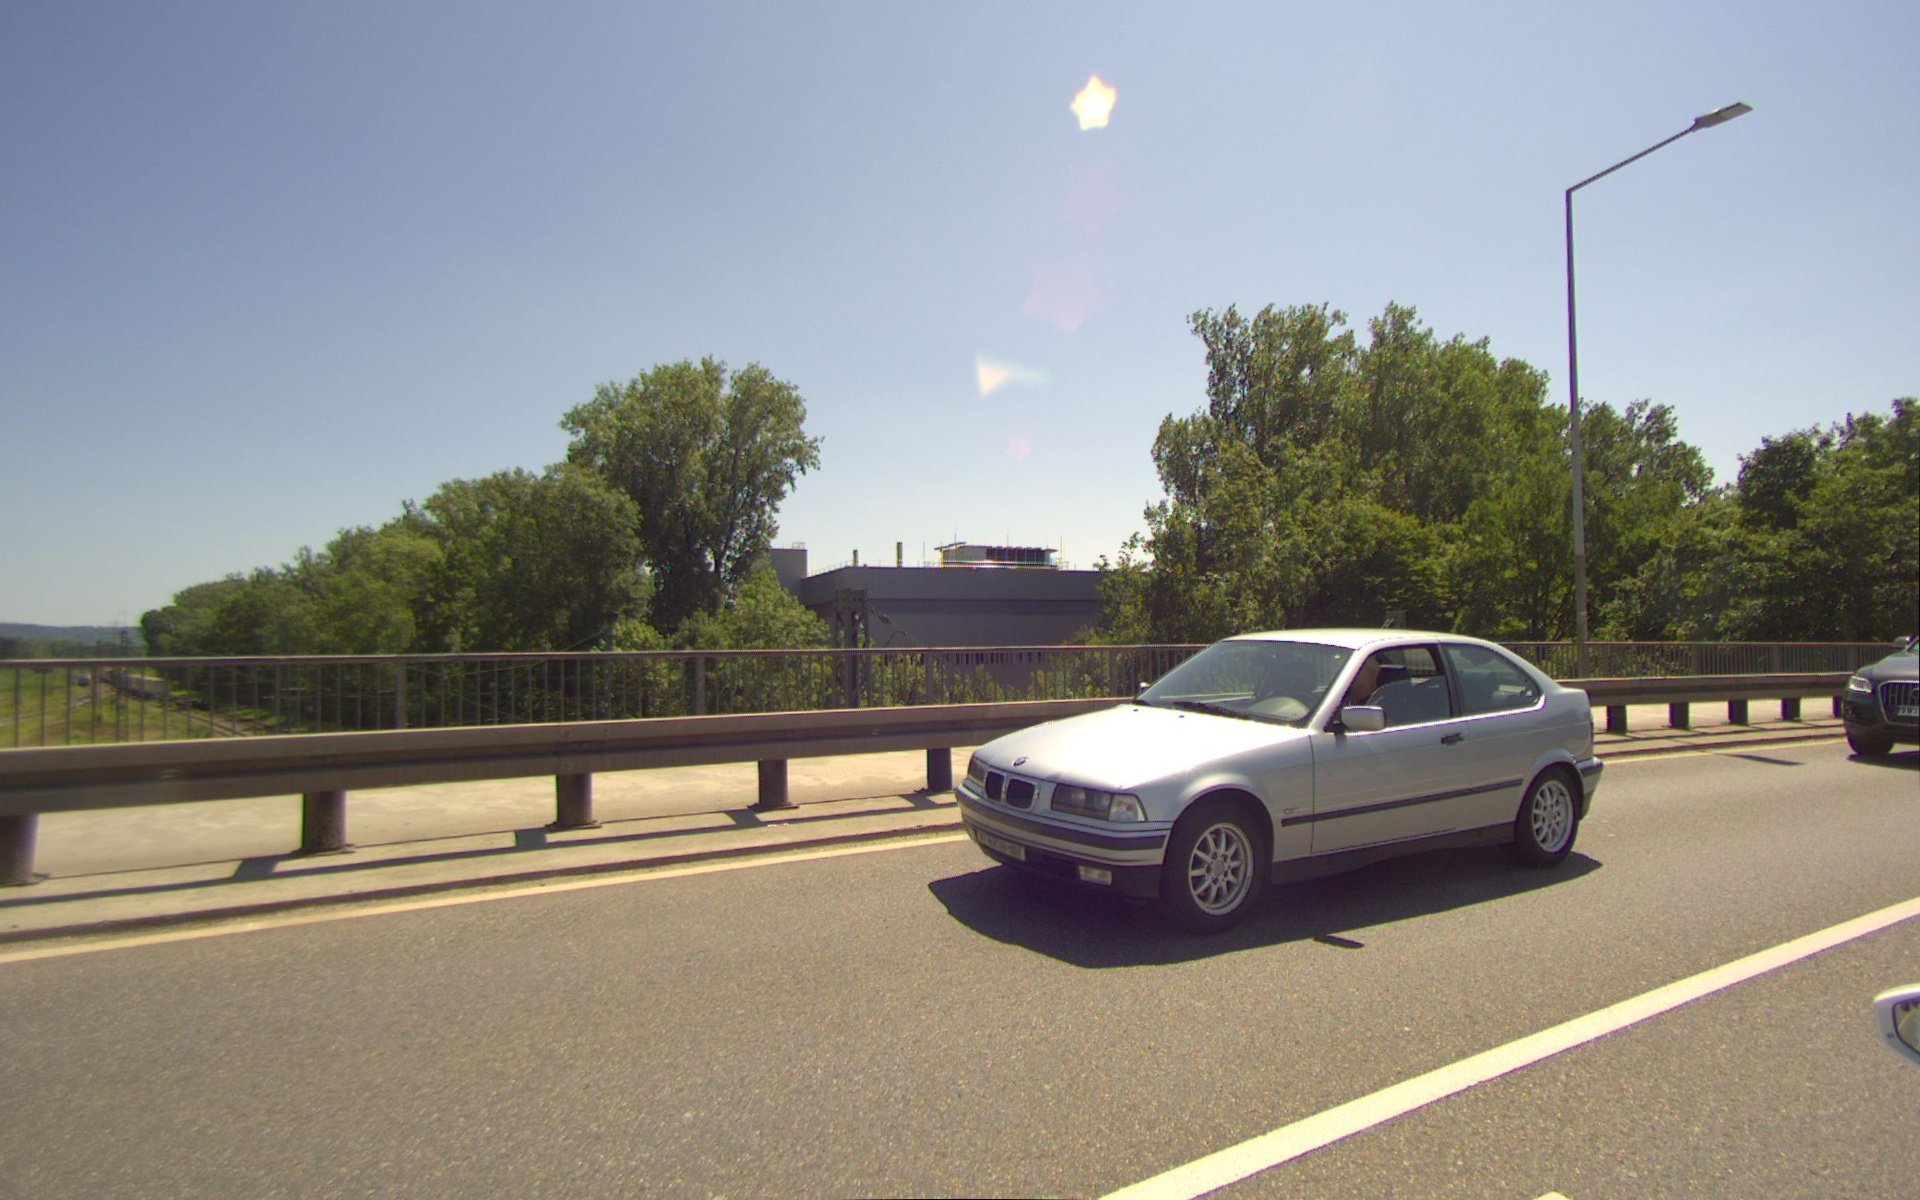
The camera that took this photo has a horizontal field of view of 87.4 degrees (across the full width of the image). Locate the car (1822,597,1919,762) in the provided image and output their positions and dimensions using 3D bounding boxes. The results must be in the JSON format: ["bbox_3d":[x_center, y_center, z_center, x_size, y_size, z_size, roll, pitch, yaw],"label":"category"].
[{"bbox_3d":[11.654,0.836,10.988,4.241,1.663,1.796,1,-1,-25],"label":"car"}]

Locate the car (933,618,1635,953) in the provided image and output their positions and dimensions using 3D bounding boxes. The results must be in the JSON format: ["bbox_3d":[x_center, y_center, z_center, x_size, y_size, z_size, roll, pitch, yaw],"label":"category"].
[{"bbox_3d":[1.973,0.824,5.897,3.951,1.394,1.690,1,-1,-29],"label":"car"}]
